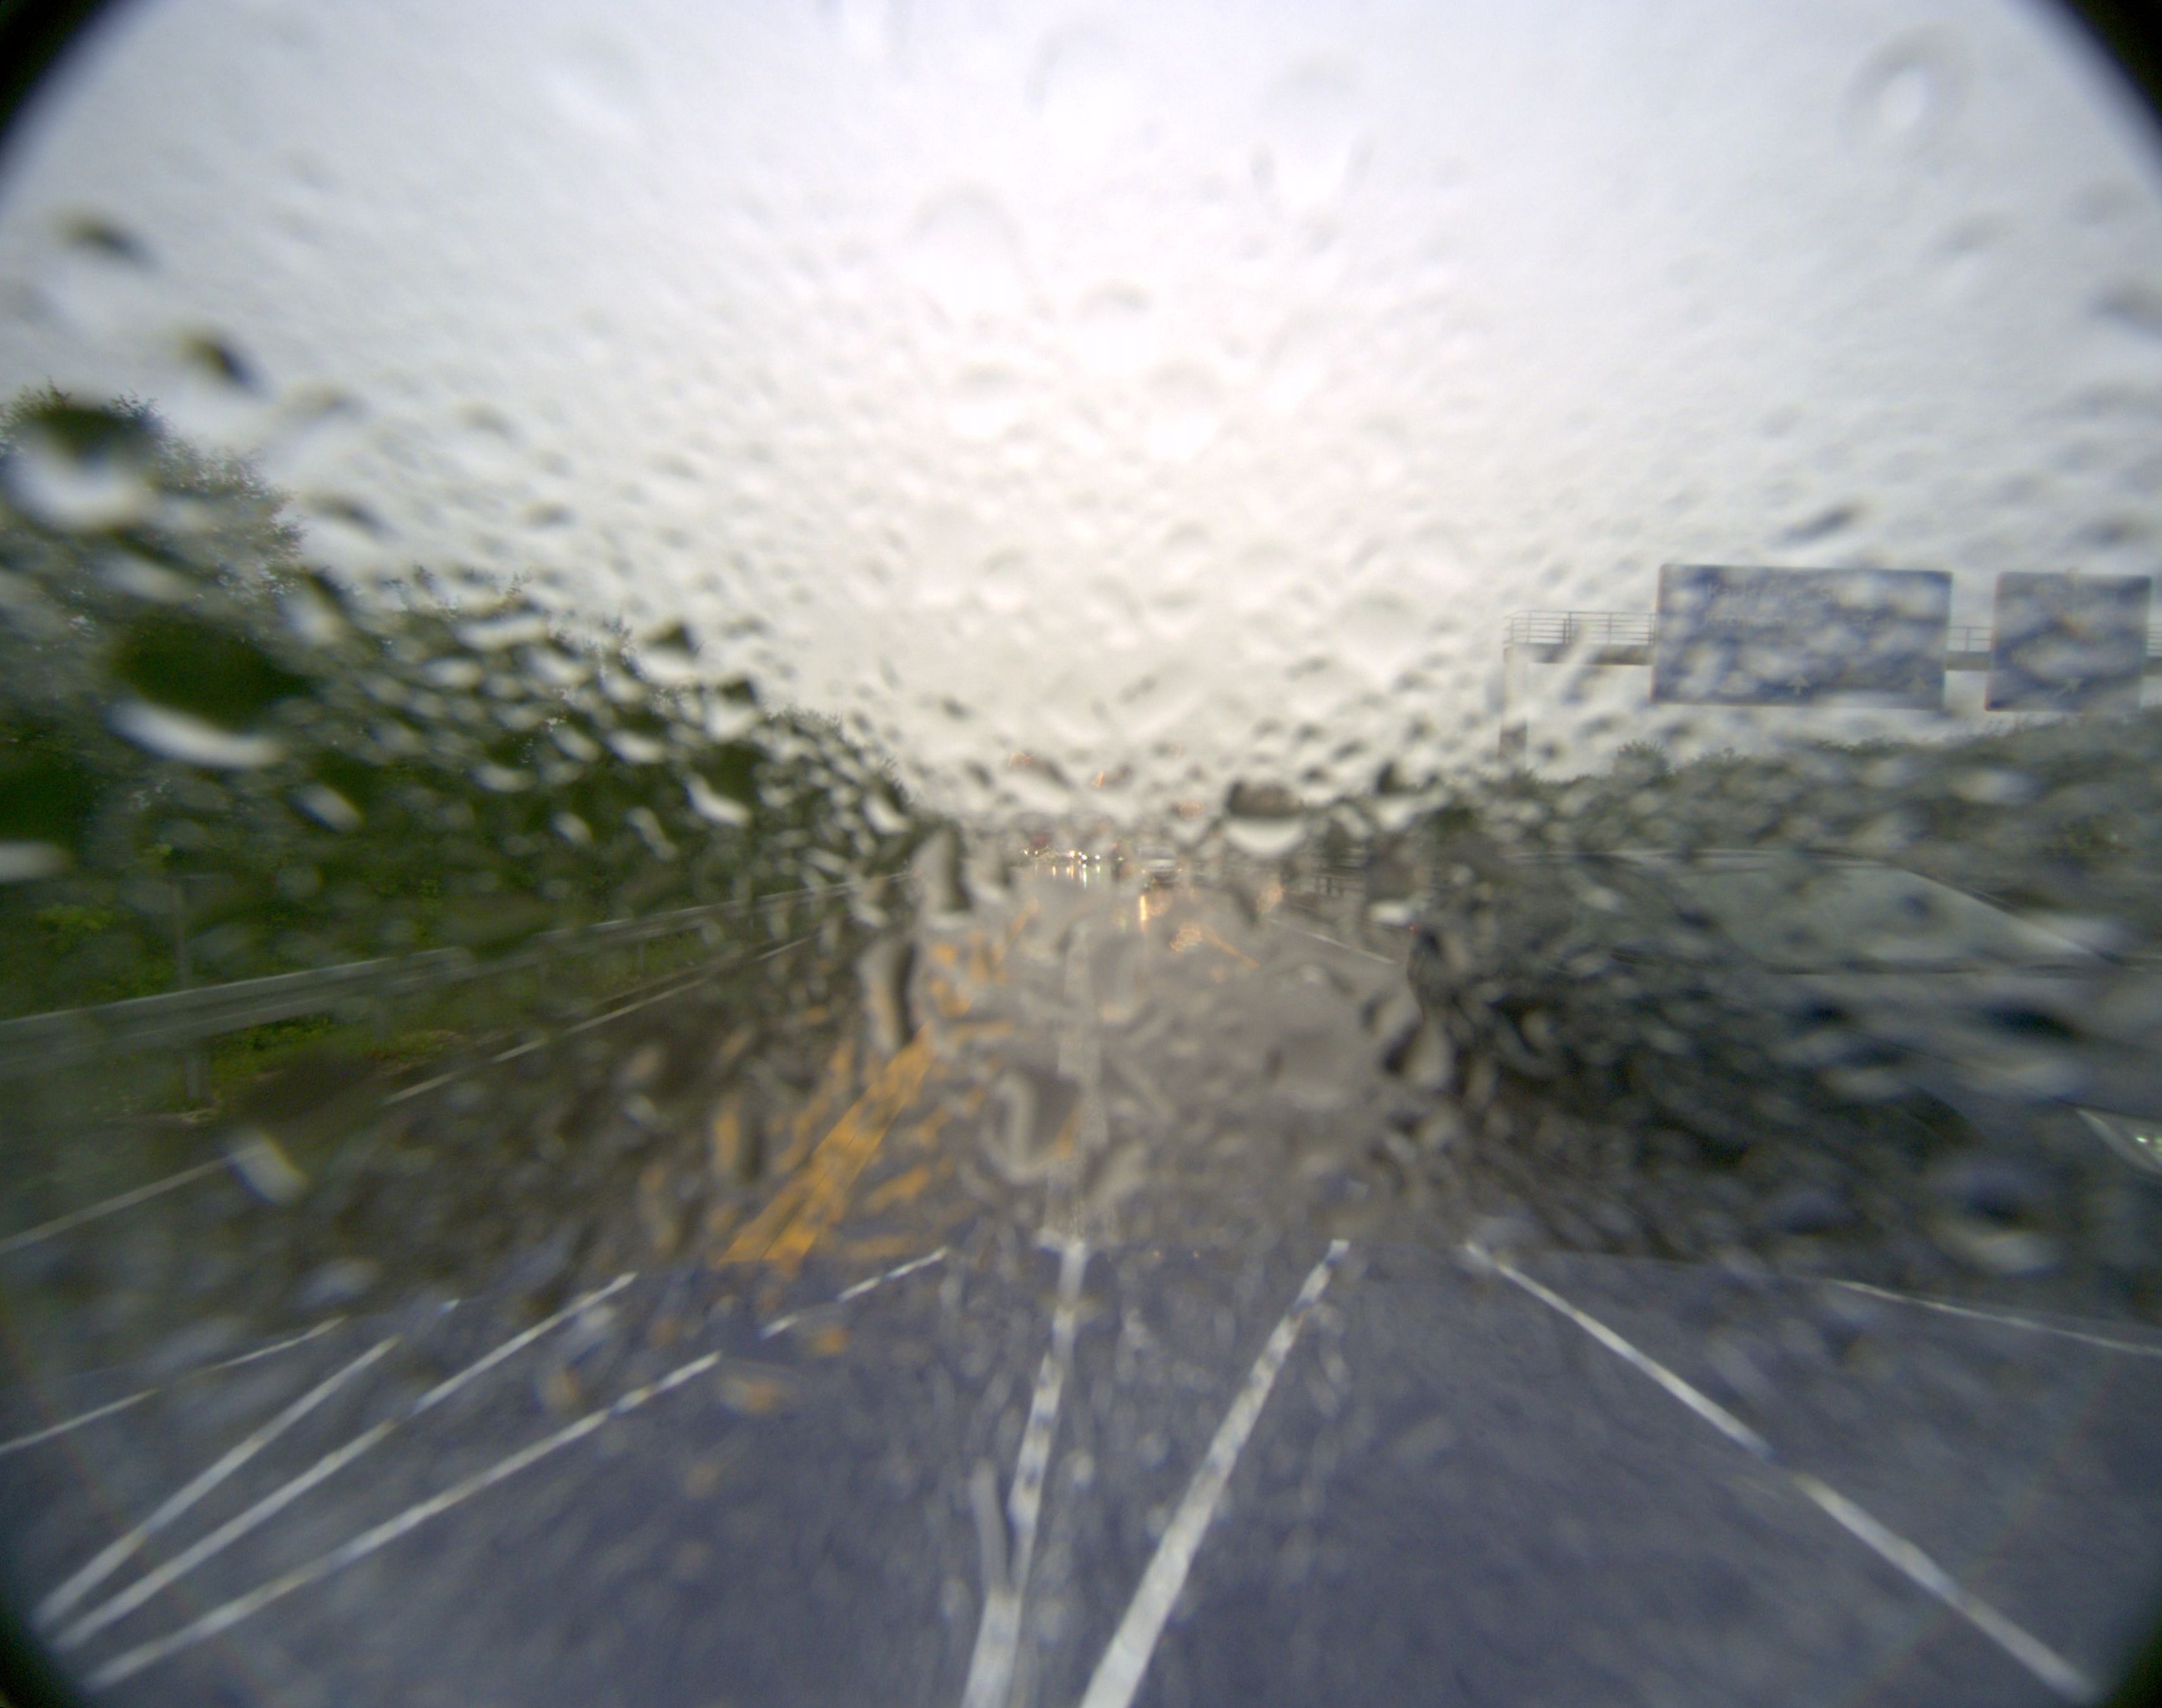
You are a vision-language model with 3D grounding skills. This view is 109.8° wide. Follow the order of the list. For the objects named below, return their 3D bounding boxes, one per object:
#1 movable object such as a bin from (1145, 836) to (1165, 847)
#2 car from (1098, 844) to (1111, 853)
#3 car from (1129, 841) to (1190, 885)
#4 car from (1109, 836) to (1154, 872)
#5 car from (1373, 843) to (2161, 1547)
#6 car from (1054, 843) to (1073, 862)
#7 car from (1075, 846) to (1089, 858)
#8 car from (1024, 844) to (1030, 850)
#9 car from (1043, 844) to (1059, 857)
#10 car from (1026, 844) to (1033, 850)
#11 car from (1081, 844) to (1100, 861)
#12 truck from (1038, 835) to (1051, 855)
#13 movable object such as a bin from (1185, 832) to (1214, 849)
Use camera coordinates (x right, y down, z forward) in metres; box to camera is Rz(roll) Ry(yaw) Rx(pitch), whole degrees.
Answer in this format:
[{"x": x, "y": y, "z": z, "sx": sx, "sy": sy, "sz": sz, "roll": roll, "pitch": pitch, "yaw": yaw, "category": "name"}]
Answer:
[{"x": 17.186, "y": -2.900, "z": 177.177, "sx": 3.449, "sy": 2.282, "sz": 5.096, "roll": -3, "pitch": 1, "yaw": -9, "category": "movable object such as a bin"}, {"x": 4.485, "y": -1.036, "z": 144.606, "sx": 1.852, "sy": 1.494, "sz": 4.127, "roll": -3, "pitch": 1, "yaw": -5, "category": "car"}, {"x": 3.075, "y": 0.334, "z": 30.547, "sx": 1.978, "sy": 1.586, "sz": 4.309, "roll": -2, "pitch": 0, "yaw": 0, "category": "car"}, {"x": 3.004, "y": -0.051, "z": 46.616, "sx": 2.211, "sy": 2.002, "sz": 5.562, "roll": -3, "pitch": 1, "yaw": -1, "category": "car"}, {"x": 3.348, "y": 0.744, "z": 3.602, "sx": 1.999, "sy": 1.489, "sz": 4.629, "roll": -2, "pitch": 1, "yaw": -2, "category": "car"}, {"x": -1.996, "y": -0.192, "z": 83.562, "sx": 1.882, "sy": 2.002, "sz": 3.998, "roll": -3, "pitch": 1, "yaw": -3, "category": "car"}, {"x": 0.113, "y": -0.329, "z": 114.851, "sx": 1.845, "sy": 1.586, "sz": 3.998, "roll": -3, "pitch": 1, "yaw": -2, "category": "car"}, {"x": -16.714, "y": -2.247, "z": 236.030, "sx": 1.752, "sy": 1.579, "sz": 3.998, "roll": -3, "pitch": 1, "yaw": -3, "category": "car"}, {"x": -4.263, "y": -0.485, "z": 107.433, "sx": 1.882, "sy": 1.657, "sz": 3.997, "roll": -2, "pitch": 1, "yaw": -6, "category": "car"}, {"x": -14.061, "y": -1.856, "z": 207.546, "sx": 1.752, "sy": 1.579, "sz": 3.998, "roll": -3, "pitch": 1, "yaw": -3, "category": "car"}, {"x": 1.033, "y": -0.152, "z": 83.729, "sx": 1.695, "sy": 1.740, "sz": 3.998, "roll": -3, "pitch": 1, "yaw": -3, "category": "car"}, {"x": -7.747, "y": -1.991, "z": 160.420, "sx": 2.484, "sy": 4.061, "sz": 8.700, "roll": -3, "pitch": 1, "yaw": -3, "category": "truck"}, {"x": 21.122, "y": -2.465, "z": 135.970, "sx": 3.775, "sy": 2.782, "sz": 6.327, "roll": -3, "pitch": 1, "yaw": -2, "category": "movable object such as a bin"}]
